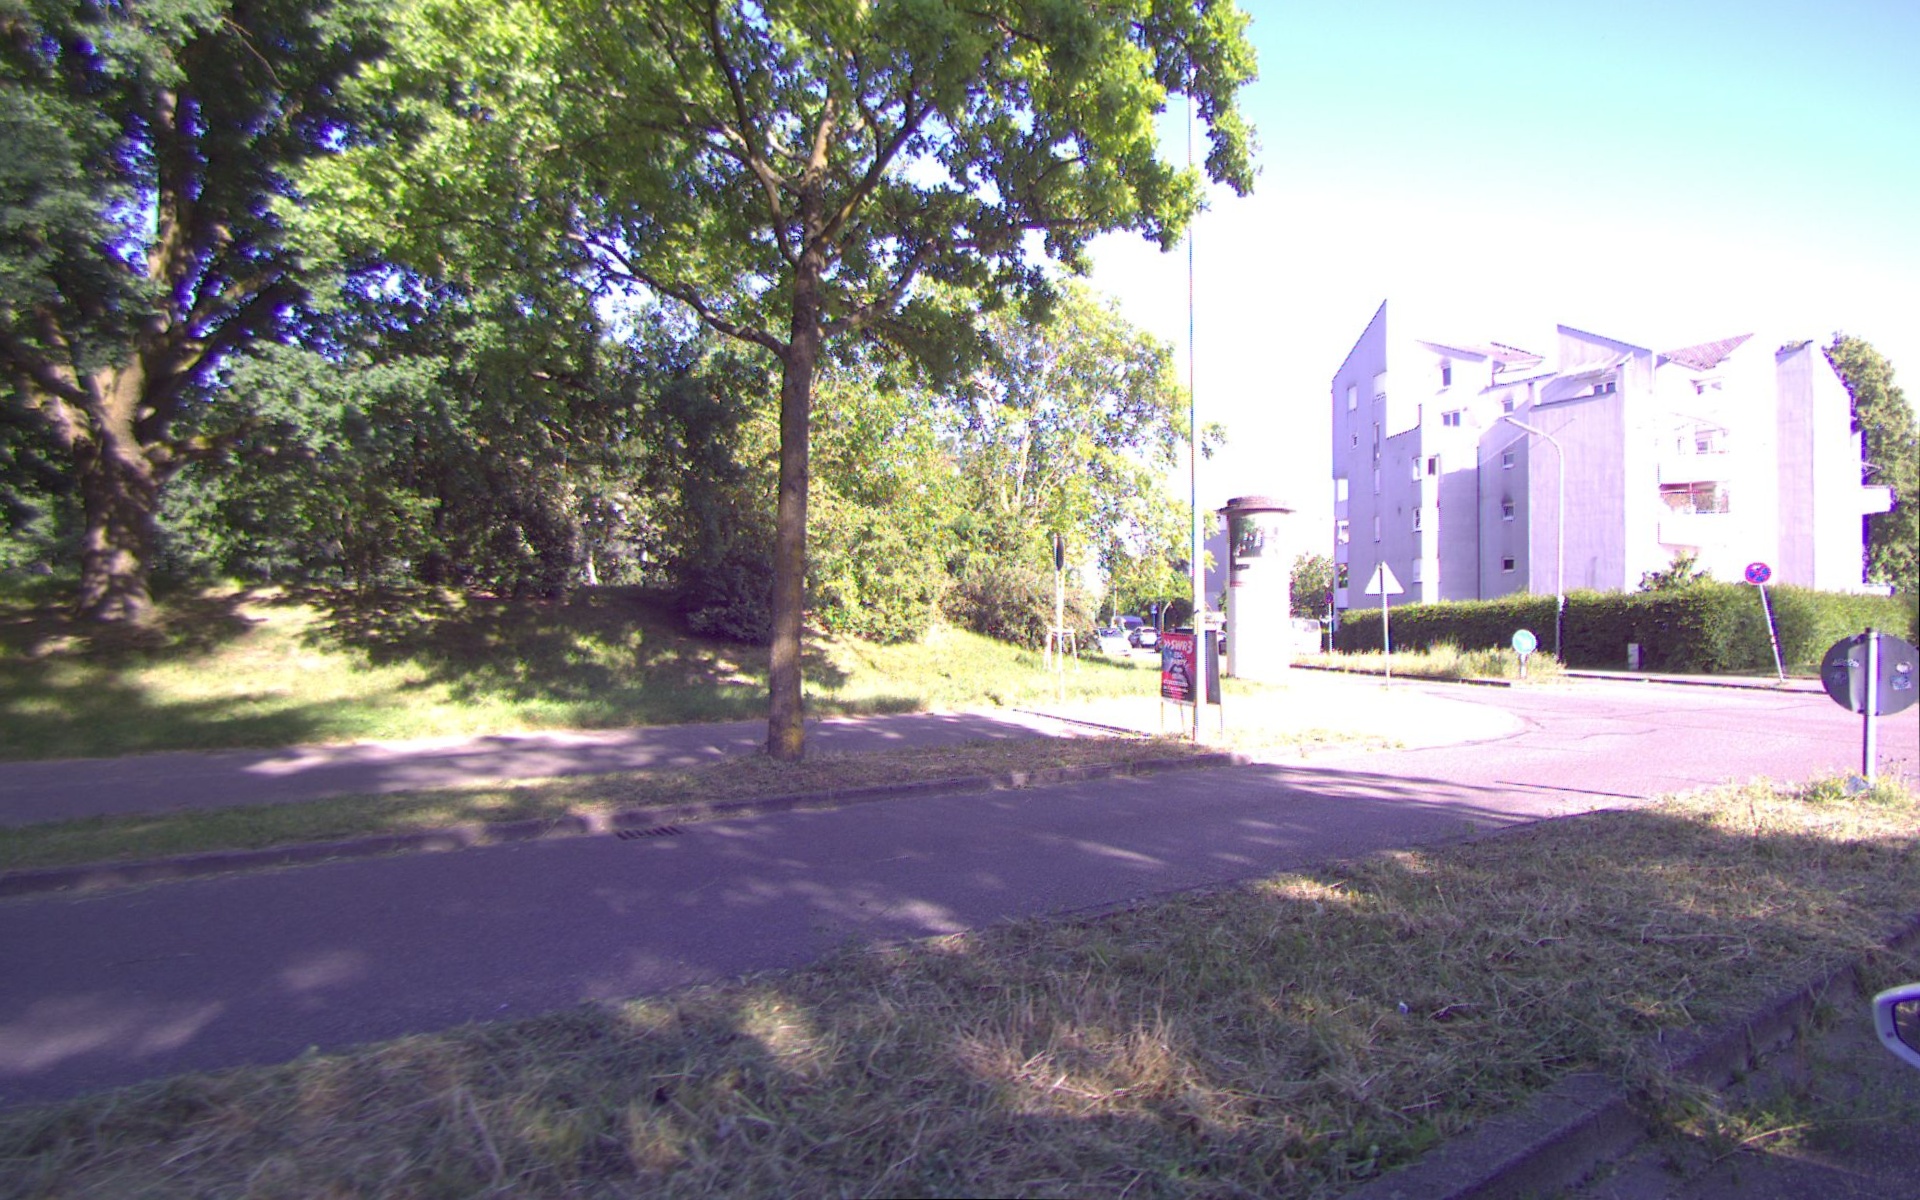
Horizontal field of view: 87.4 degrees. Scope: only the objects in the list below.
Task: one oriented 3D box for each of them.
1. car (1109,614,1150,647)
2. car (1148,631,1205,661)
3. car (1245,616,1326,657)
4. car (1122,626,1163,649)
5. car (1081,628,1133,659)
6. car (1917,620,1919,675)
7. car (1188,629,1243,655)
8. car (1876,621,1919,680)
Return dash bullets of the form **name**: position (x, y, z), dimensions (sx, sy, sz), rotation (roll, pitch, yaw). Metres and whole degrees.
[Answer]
- **car**: position (13.699, 2.460, 81.541), dimensions (2.071, 2.519, 5.854), rotation (2, -2, -3)
- **car**: position (12.265, 2.600, 57.189), dimensions (1.849, 1.664, 4.070), rotation (1, -2, -9)
- **car**: position (16.411, 1.845, 50.944), dimensions (1.963, 1.937, 4.948), rotation (0, -2, -7)
- **car**: position (13.773, 2.839, 76.065), dimensions (1.880, 1.688, 4.372), rotation (0, -2, -6)
- **car**: position (7.558, 2.209, 51.922), dimensions (1.603, 1.548, 3.412), rotation (0, -1, -12)
- **car**: position (27.667, 1.243, 26.126), dimensions (1.625, 1.516, 3.678), rotation (0, -2, -18)
- **car**: position (15.492, 2.522, 61.112), dimensions (1.880, 1.508, 4.372), rotation (0, -2, -6)
- **car**: position (25.500, 1.273, 25.105), dimensions (1.675, 1.486, 3.524), rotation (0, -1, -14)
